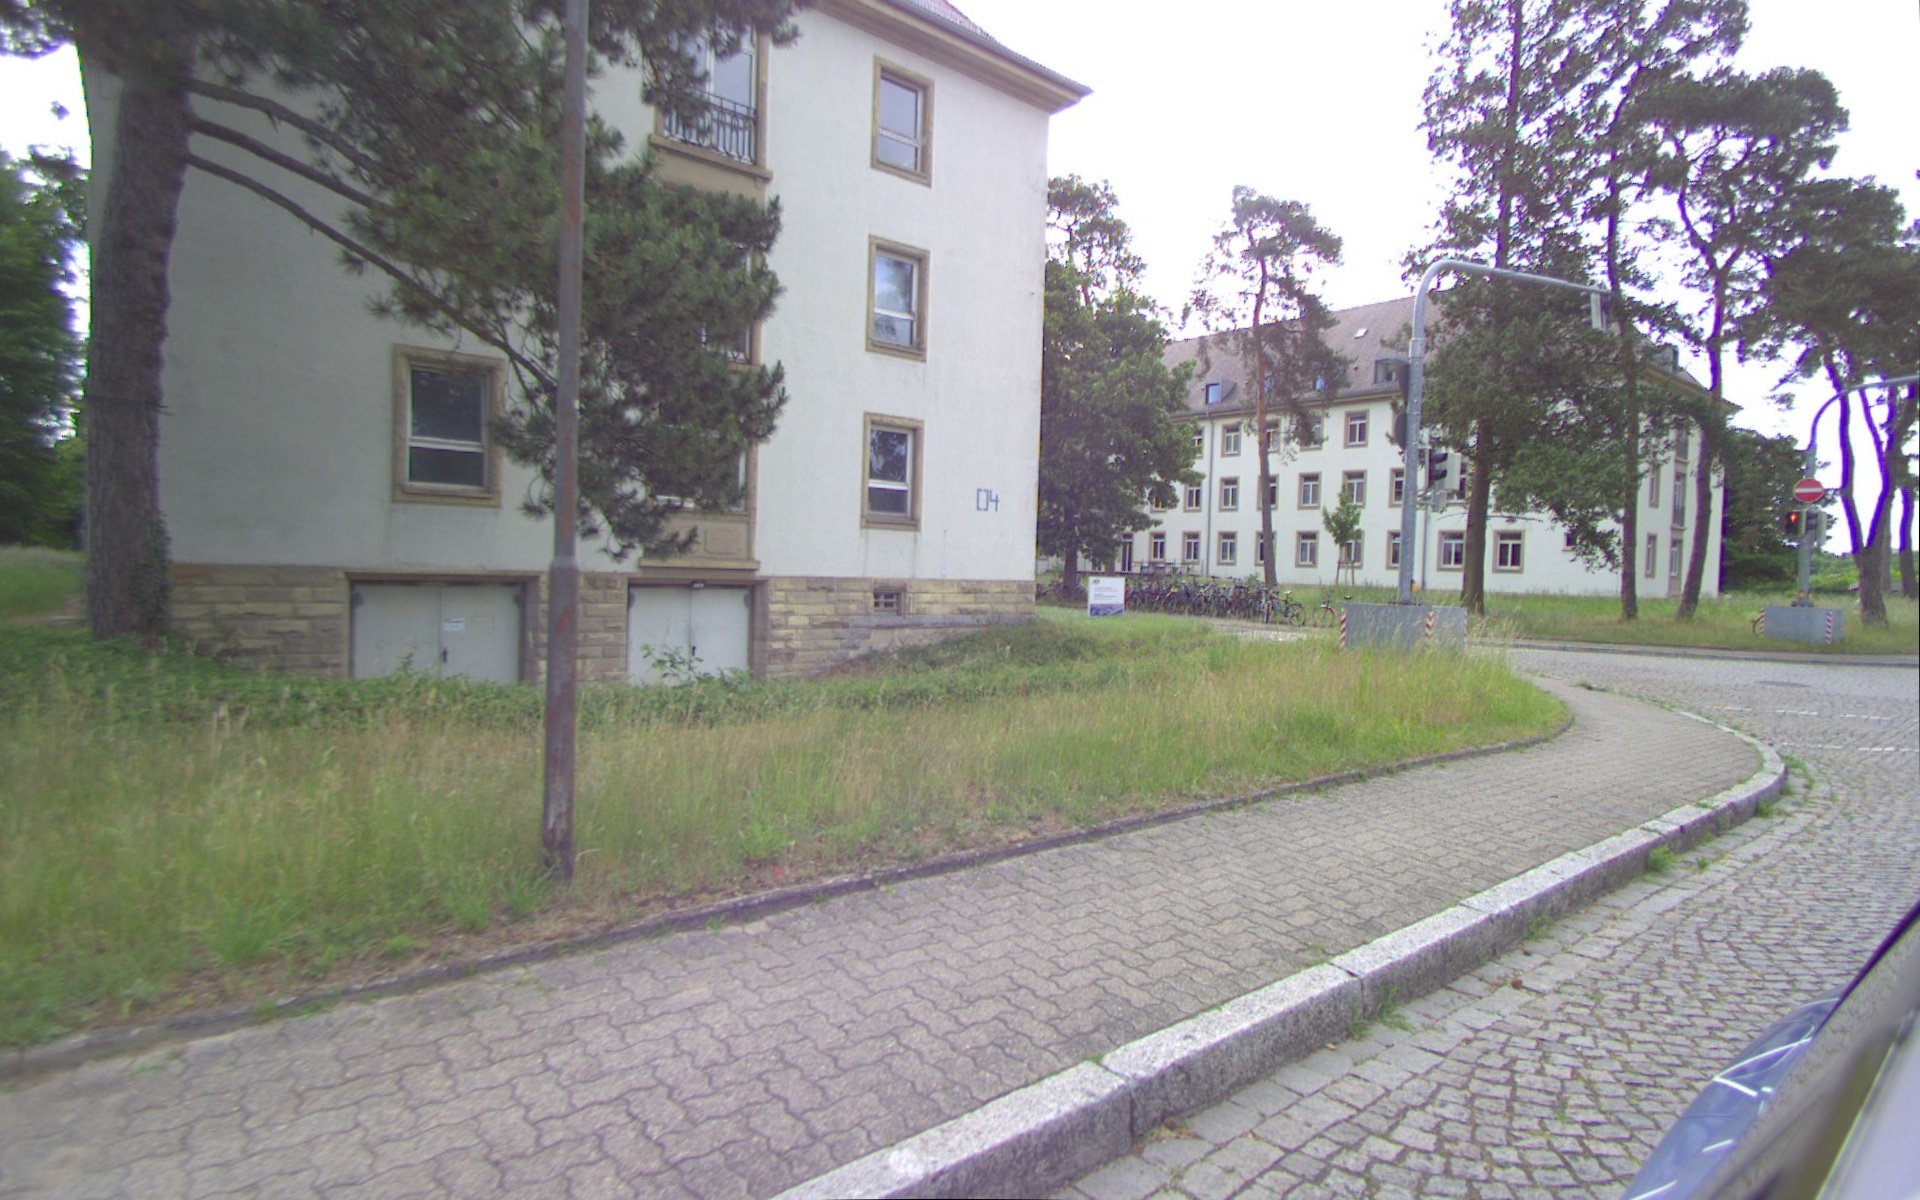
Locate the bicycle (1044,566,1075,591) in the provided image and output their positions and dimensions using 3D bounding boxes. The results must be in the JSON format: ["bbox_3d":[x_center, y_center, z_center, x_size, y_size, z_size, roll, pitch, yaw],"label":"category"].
[{"bbox_3d":[4.579,-0.976,46.580,1.525,1.138,0.401,0,2,-38],"label":"bicycle"}]

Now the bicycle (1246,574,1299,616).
[{"bbox_3d":[9.817,-0.136,31.785,1.954,1.263,0.623,1,1,-41],"label":"bicycle"}]

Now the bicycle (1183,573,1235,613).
[{"bbox_3d":[8.273,-0.239,33.636,1.954,1.263,0.623,1,1,-41],"label":"bicycle"}]

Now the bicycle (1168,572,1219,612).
[{"bbox_3d":[7.876,-0.265,34.128,1.954,1.263,0.623,1,1,-41],"label":"bicycle"}]

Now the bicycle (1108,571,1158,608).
[{"bbox_3d":[6.188,-0.377,36.114,1.954,1.263,0.623,1,1,-41],"label":"bicycle"}]

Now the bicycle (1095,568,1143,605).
[{"bbox_3d":[5.769,-0.500,36.618,1.954,1.263,0.623,-2,3,-41],"label":"bicycle"}]

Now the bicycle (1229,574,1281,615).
[{"bbox_3d":[9.418,-0.163,32.269,1.954,1.263,0.623,1,1,-41],"label":"bicycle"}]

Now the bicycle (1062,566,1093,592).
[{"bbox_3d":[5.301,-0.922,45.582,1.525,1.138,0.401,0,2,-38],"label":"bicycle"}]

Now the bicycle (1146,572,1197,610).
[{"bbox_3d":[7.291,-0.303,34.765,1.954,1.263,0.623,1,1,-41],"label":"bicycle"}]

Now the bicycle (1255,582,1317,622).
[{"bbox_3d":[9.562,0.046,29.745,0.612,1.096,1.678,2,1,-35],"label":"bicycle"}]

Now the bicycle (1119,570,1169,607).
[{"bbox_3d":[6.516,-0.403,35.743,1.954,1.263,0.623,1,1,-41],"label":"bicycle"}]

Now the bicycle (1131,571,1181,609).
[{"bbox_3d":[6.857,-0.333,35.363,1.954,1.263,0.623,1,1,-41],"label":"bicycle"}]

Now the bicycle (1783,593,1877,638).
[{"bbox_3d":[22.335,0.381,26.011,0.571,0.981,1.679,-2,5,-35],"label":"bicycle"}]

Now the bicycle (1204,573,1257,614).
[{"bbox_3d":[8.819,-0.202,32.974,1.954,1.263,0.623,1,1,-41],"label":"bicycle"}]

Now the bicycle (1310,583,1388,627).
[{"bbox_3d":[10.853,0.114,28.281,0.612,1.127,1.989,2,1,-36],"label":"bicycle"}]

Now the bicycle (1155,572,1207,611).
[{"bbox_3d":[7.554,-0.287,34.542,1.954,1.263,0.623,1,1,-41],"label":"bicycle"}]
